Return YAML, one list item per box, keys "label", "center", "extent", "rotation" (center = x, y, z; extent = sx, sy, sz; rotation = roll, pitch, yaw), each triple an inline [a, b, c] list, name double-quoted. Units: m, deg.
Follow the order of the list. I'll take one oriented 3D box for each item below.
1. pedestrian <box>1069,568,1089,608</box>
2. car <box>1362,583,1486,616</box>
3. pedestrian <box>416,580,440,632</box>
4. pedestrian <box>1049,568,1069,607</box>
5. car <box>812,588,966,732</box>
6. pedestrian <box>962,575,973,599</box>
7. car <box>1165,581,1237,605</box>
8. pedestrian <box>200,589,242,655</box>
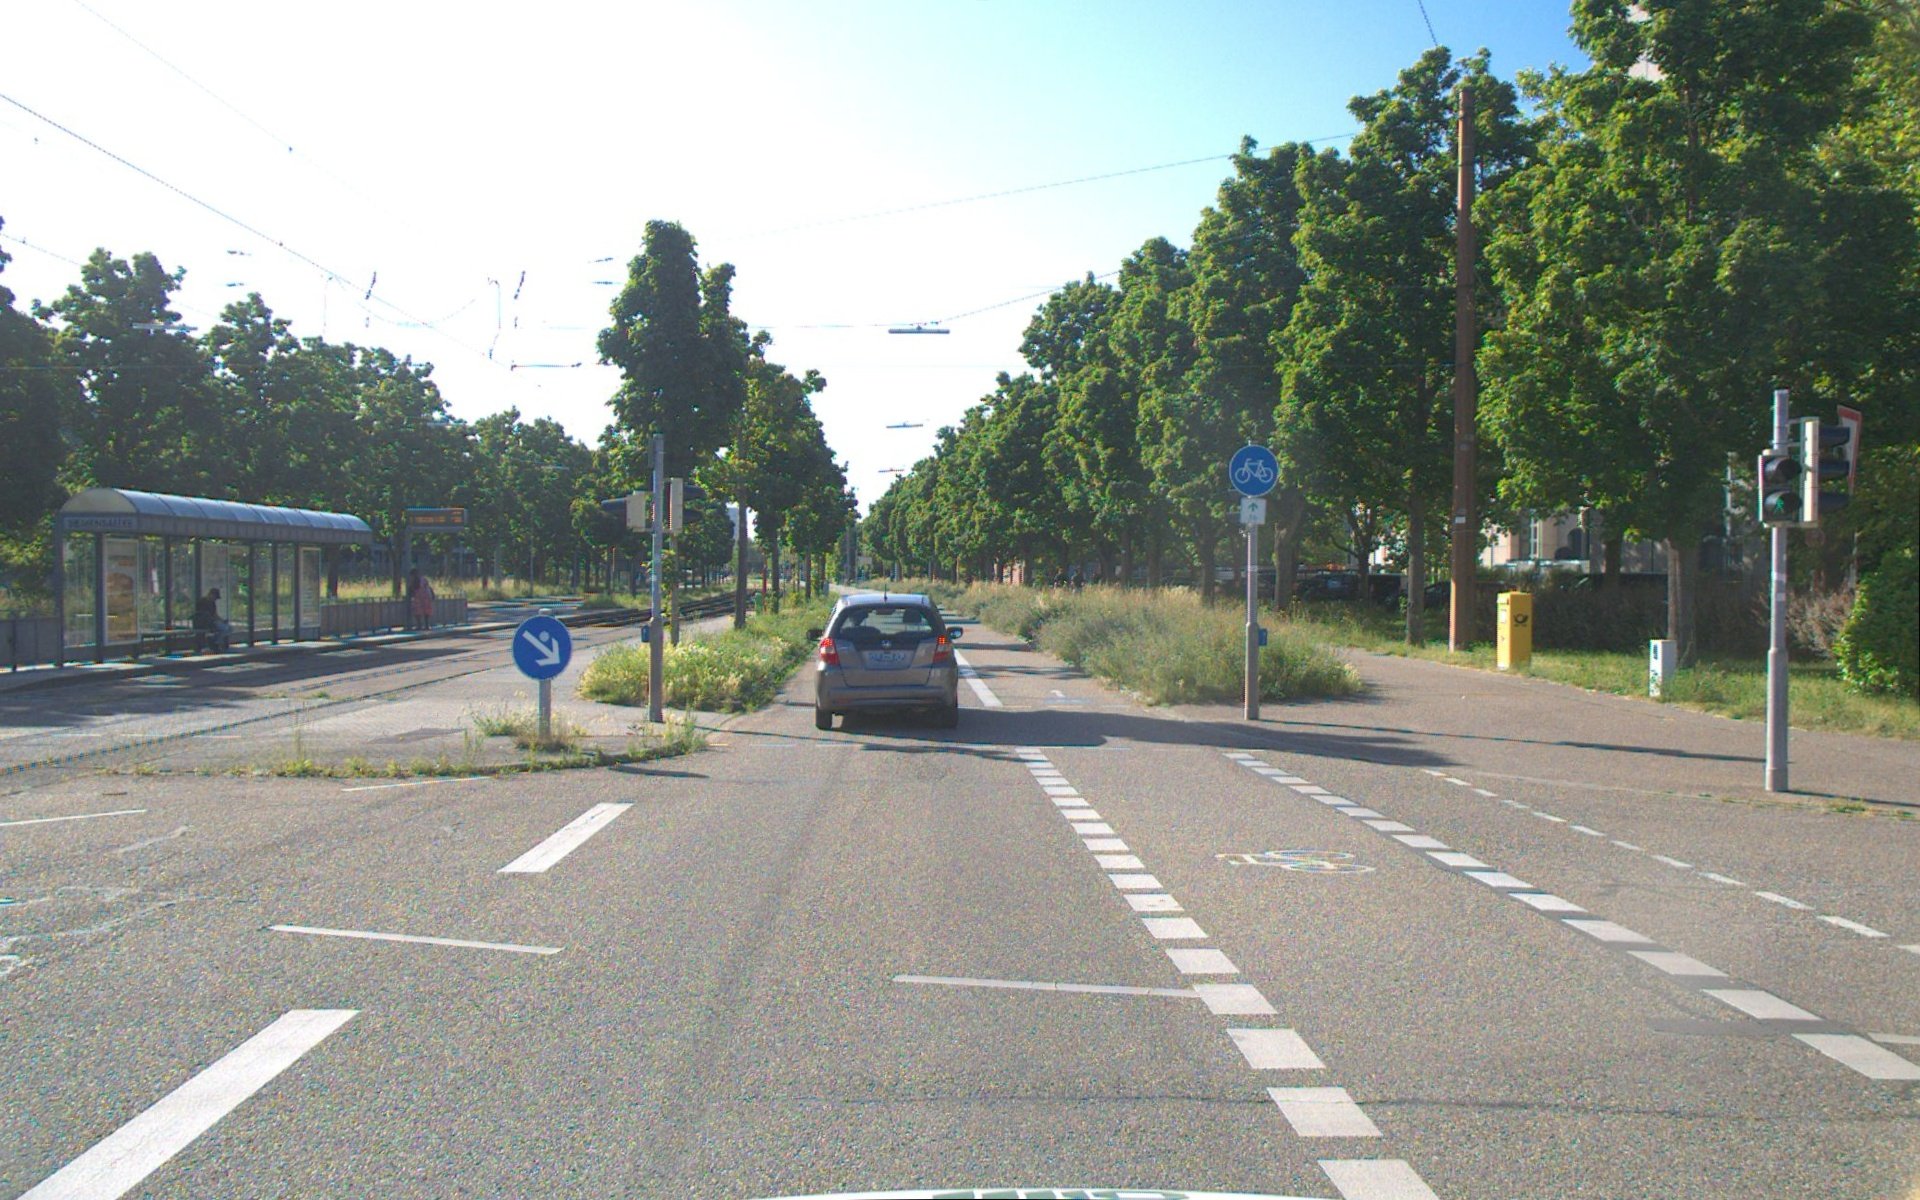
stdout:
- label: "pedestrian"
  center: [5.781, -0.588, 80.424]
  extent: [0.865, 1.917, 0.874]
  rotation: [0, 0, -5]
- label: "car"
  center: [19.320, -0.045, 68.981]
  extent: [4.588, 1.350, 2.086]
  rotation: [0, 0, 34]
- label: "pedestrian"
  center: [-15.326, 0.170, 47.651]
  extent: [0.533, 1.473, 0.559]
  rotation: [-1, -1, -1]
- label: "pedestrian"
  center: [4.798, -0.611, 80.323]
  extent: [0.865, 1.917, 0.874]
  rotation: [0, 0, -5]
- label: "car"
  center: [-0.812, 0.684, 20.074]
  extent: [1.666, 1.550, 3.708]
  rotation: [1, -1, -1]
- label: "pedestrian"
  center: [0.534, -0.922, 118.186]
  extent: [0.710, 1.720, 0.820]
  rotation: [0, 0, -3]
- label: "car"
  center: [16.409, -0.485, 112.740]
  extent: [4.543, 1.583, 1.997]
  rotation: [0, 0, -7]
- label: "pedestrian"
  center: [-14.778, 0.440, 33.096]
  extent: [0.552, 1.279, 0.580]
  rotation: [-2, 0, -2]
